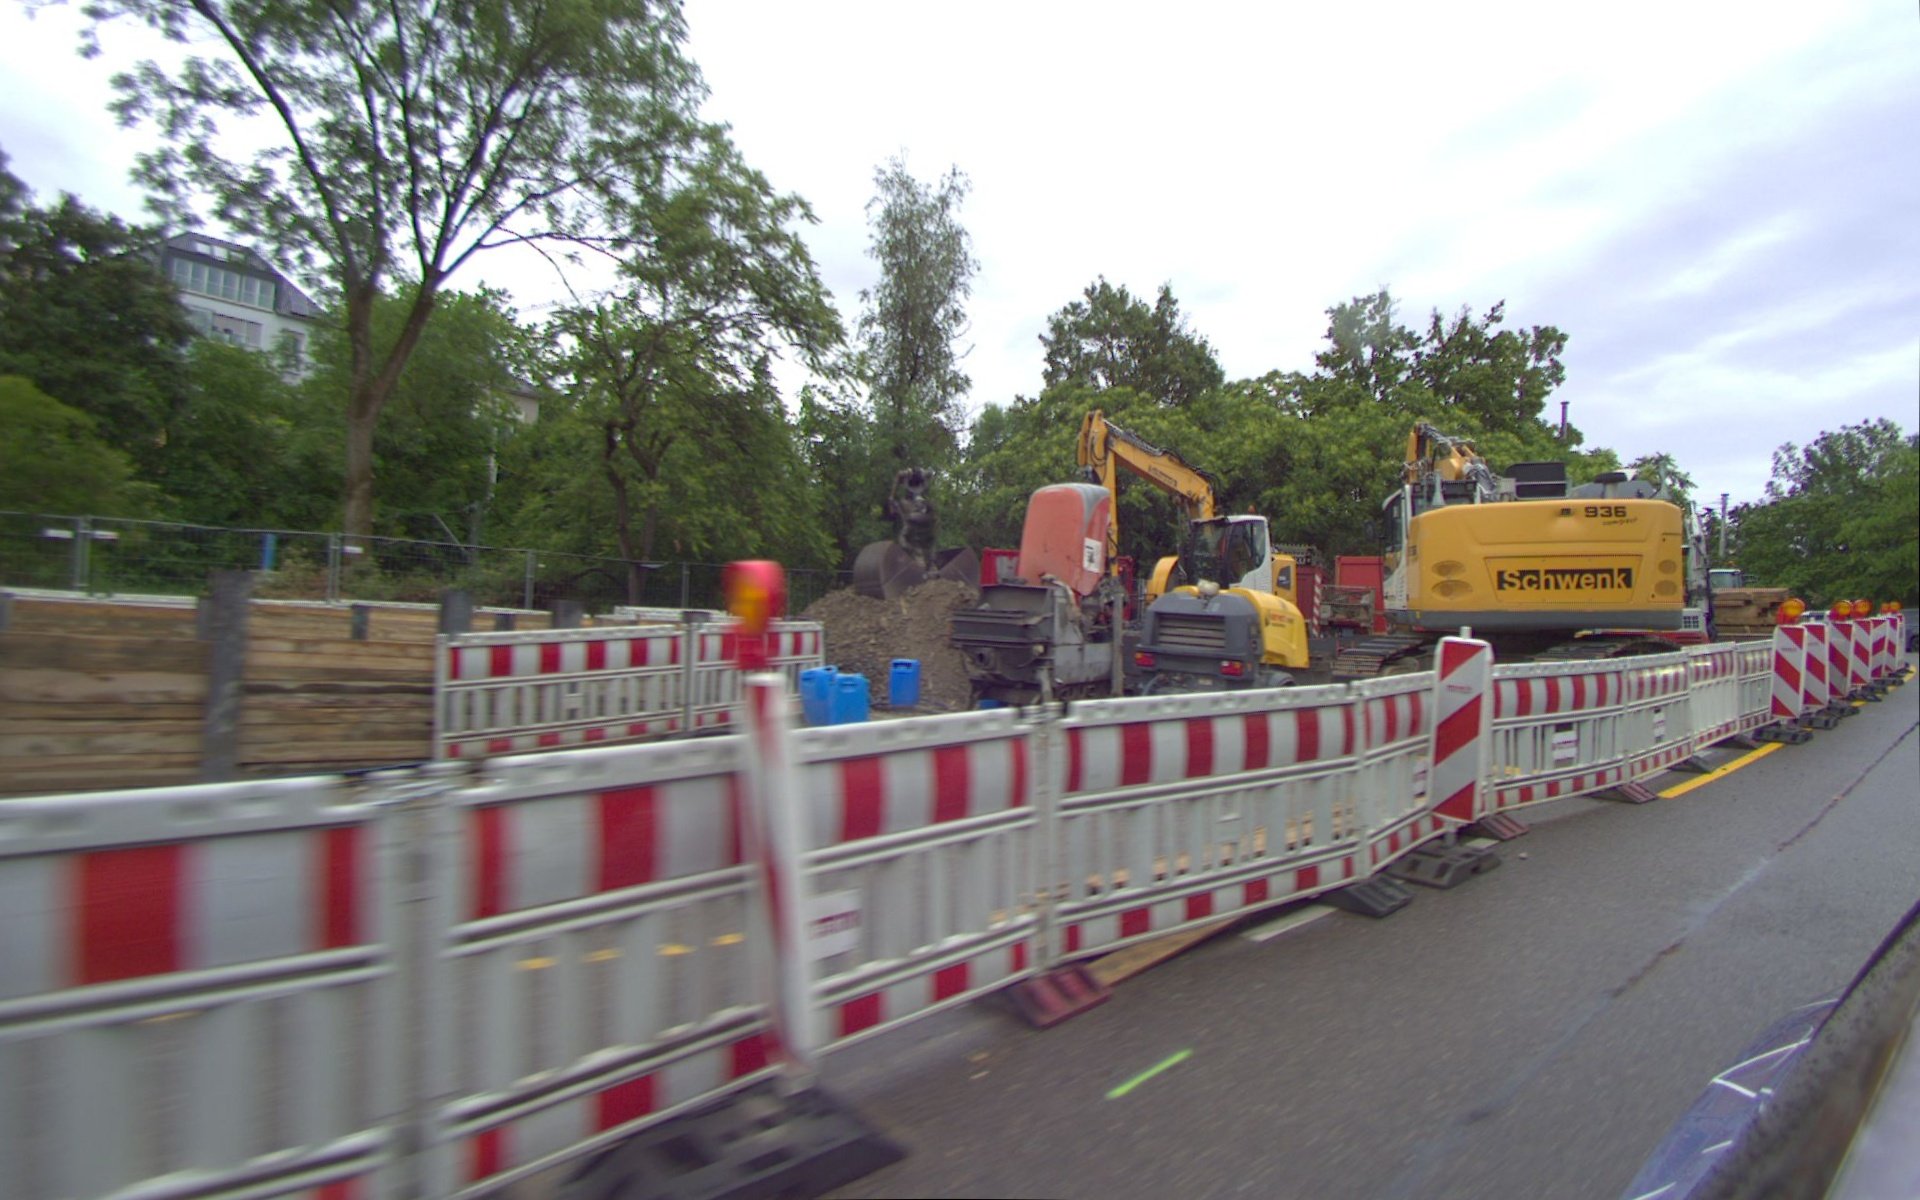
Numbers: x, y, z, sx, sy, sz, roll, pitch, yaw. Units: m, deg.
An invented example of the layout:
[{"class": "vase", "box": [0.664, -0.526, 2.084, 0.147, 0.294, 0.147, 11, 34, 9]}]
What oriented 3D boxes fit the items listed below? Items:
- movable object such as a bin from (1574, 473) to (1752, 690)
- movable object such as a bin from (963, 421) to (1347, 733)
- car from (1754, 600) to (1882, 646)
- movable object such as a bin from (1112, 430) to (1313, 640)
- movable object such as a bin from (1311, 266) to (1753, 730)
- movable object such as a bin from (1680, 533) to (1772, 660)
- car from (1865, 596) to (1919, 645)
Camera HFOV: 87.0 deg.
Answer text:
[{"class": "movable object such as a bin", "box": [12.332, -0.375, 17.673, 1.994, 3.345, 3.776, 1, 3, 44]}, {"class": "movable object such as a bin", "box": [2.414, -0.146, 12.694, 3.980, 3.247, 2.372, 0, -6, 39]}, {"class": "car", "box": [41.729, 1.143, 49.396, 1.834, 2.040, 4.817, 3, -2, -5]}, {"class": "movable object such as a bin", "box": [5.380, -1.199, 21.221, 4.541, 3.938, 1.995, 1, -1, -45]}, {"class": "movable object such as a bin", "box": [8.086, -1.293, 16.475, 3.019, 4.978, 10.787, 0, 2, 11]}, {"class": "movable object such as a bin", "box": [23.689, 0.003, 31.212, 2.072, 3.270, 5.205, 0, -7, 39]}, {"class": "car", "box": [41.295, 0.902, 42.969, 1.968, 2.039, 4.932, 2, -1, 11]}]
